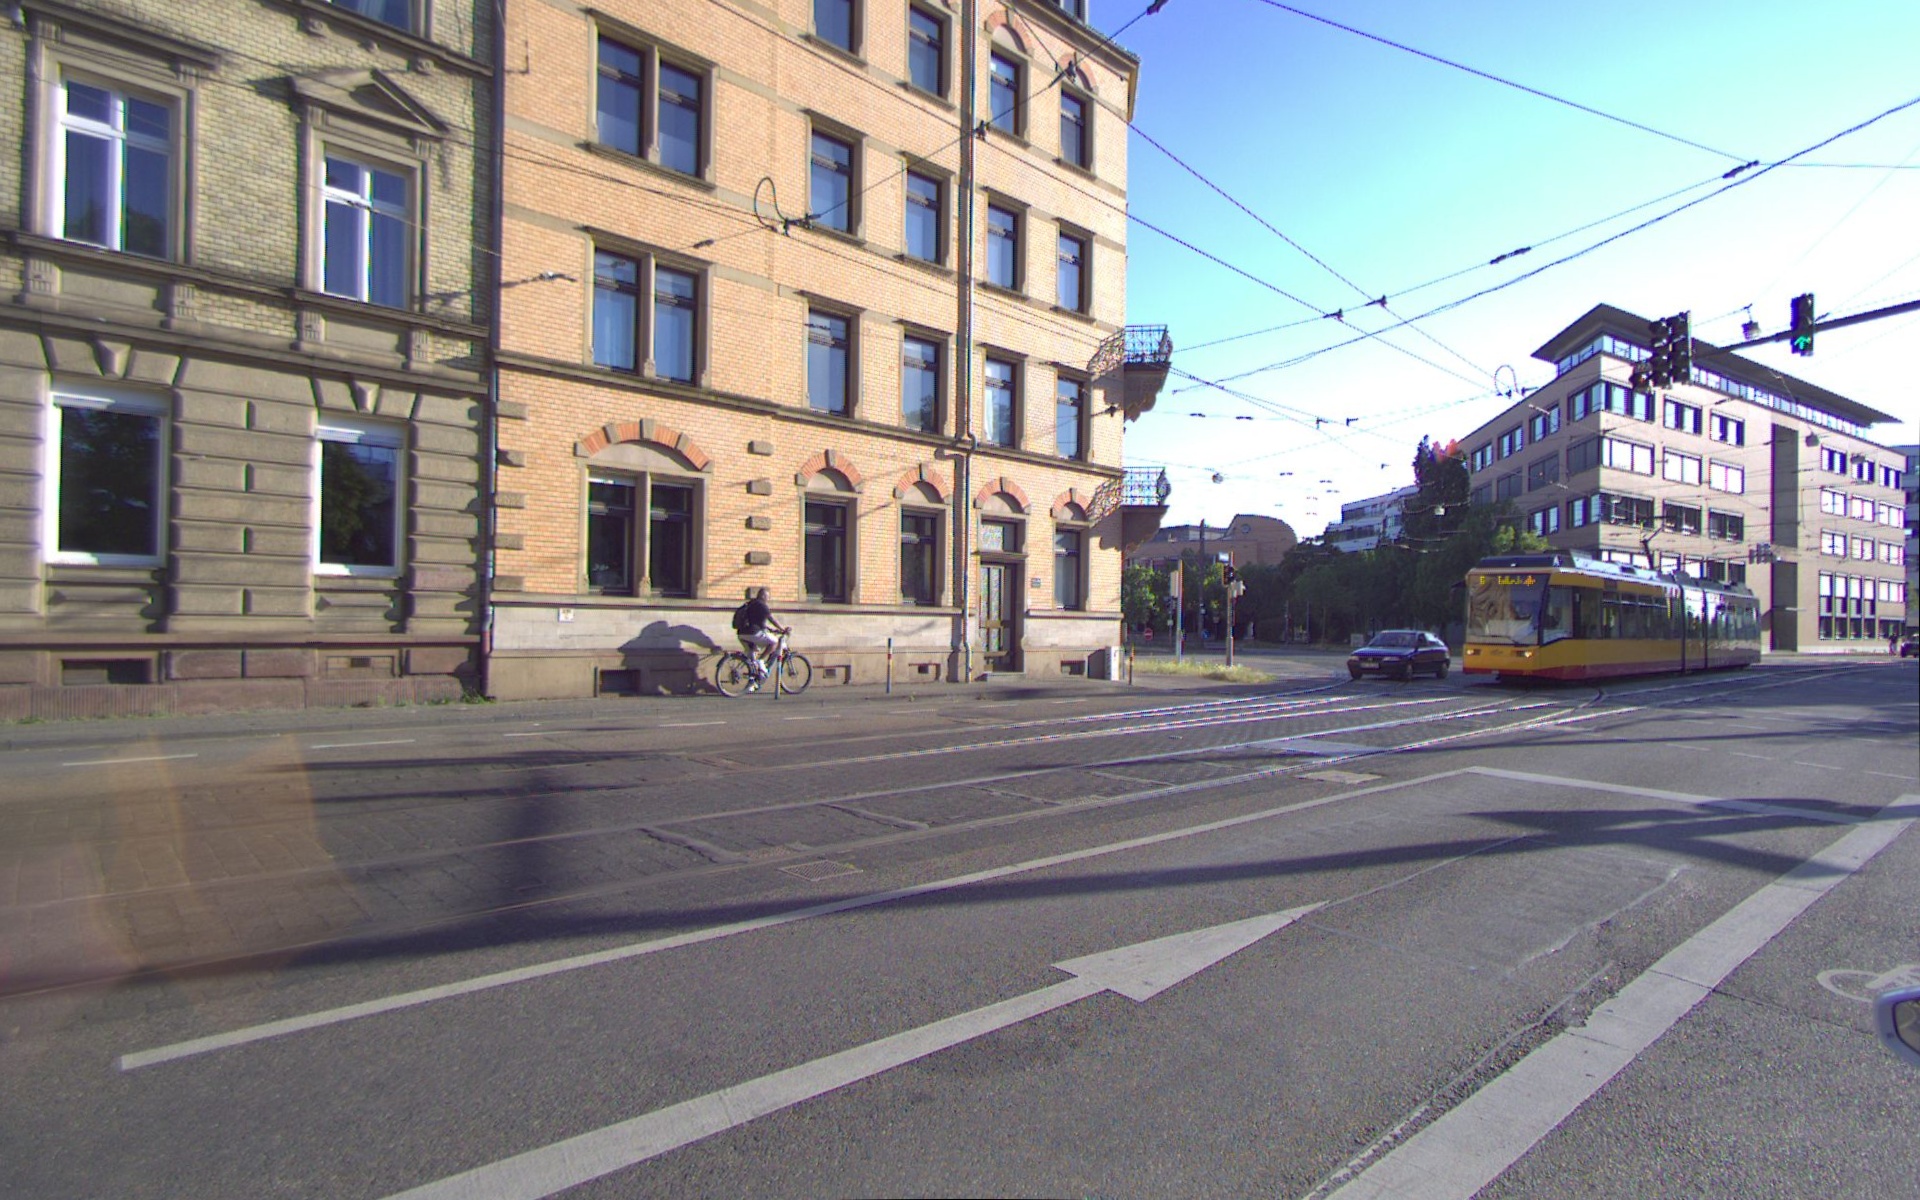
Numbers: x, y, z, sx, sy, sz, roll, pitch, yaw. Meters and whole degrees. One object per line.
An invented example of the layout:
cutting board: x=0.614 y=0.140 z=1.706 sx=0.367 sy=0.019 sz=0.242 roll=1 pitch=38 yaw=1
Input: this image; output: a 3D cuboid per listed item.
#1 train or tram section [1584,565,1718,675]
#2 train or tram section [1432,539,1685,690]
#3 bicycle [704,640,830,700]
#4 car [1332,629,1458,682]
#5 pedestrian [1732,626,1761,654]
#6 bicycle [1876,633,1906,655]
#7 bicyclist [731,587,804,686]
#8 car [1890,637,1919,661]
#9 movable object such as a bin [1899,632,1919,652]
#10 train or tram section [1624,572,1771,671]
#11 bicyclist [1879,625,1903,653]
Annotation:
train or tram section: x=24.357 y=0.735 z=35.333 sx=5.266 sy=3.554 sz=2.834 roll=2 pitch=-2 yaw=-43
train or tram section: x=17.758 y=0.537 z=29.086 sx=12.923 sy=3.554 sz=2.834 roll=2 pitch=-2 yaw=-43
bicycle: x=-3.254 y=1.168 z=17.102 sx=2.072 sy=0.952 sz=0.641 roll=2 pitch=-2 yaw=-41
car: x=12.571 y=1.559 z=28.913 sx=4.132 sy=1.398 sz=1.792 roll=2 pitch=-2 yaw=-42
pedestrian: x=57.495 y=2.906 z=73.435 sx=1.537 sy=2.040 sz=1.233 roll=2 pitch=-1 yaw=-32
bicycle: x=72.020 y=3.422 z=77.705 sx=2.530 sy=1.673 sz=1.025 roll=2 pitch=-2 yaw=-30
bicyclist: x=-3.275 y=0.613 z=17.094 sx=1.028 sy=1.634 sz=0.629 roll=2 pitch=-2 yaw=-41
car: x=69.010 y=3.540 z=72.429 sx=4.416 sy=1.636 sz=1.805 roll=2 pitch=-2 yaw=-33
movable object such as a bin: x=80.470 y=3.567 z=85.201 sx=0.880 sy=1.650 sz=1.060 roll=2 pitch=-1 yaw=-33
train or tram section: x=30.321 y=0.934 z=41.015 sx=11.217 sy=3.554 sz=2.834 roll=2 pitch=-2 yaw=-43
bicyclist: x=71.972 y=3.000 z=77.659 sx=1.232 sy=2.040 sz=1.025 roll=3 pitch=0 yaw=-30
